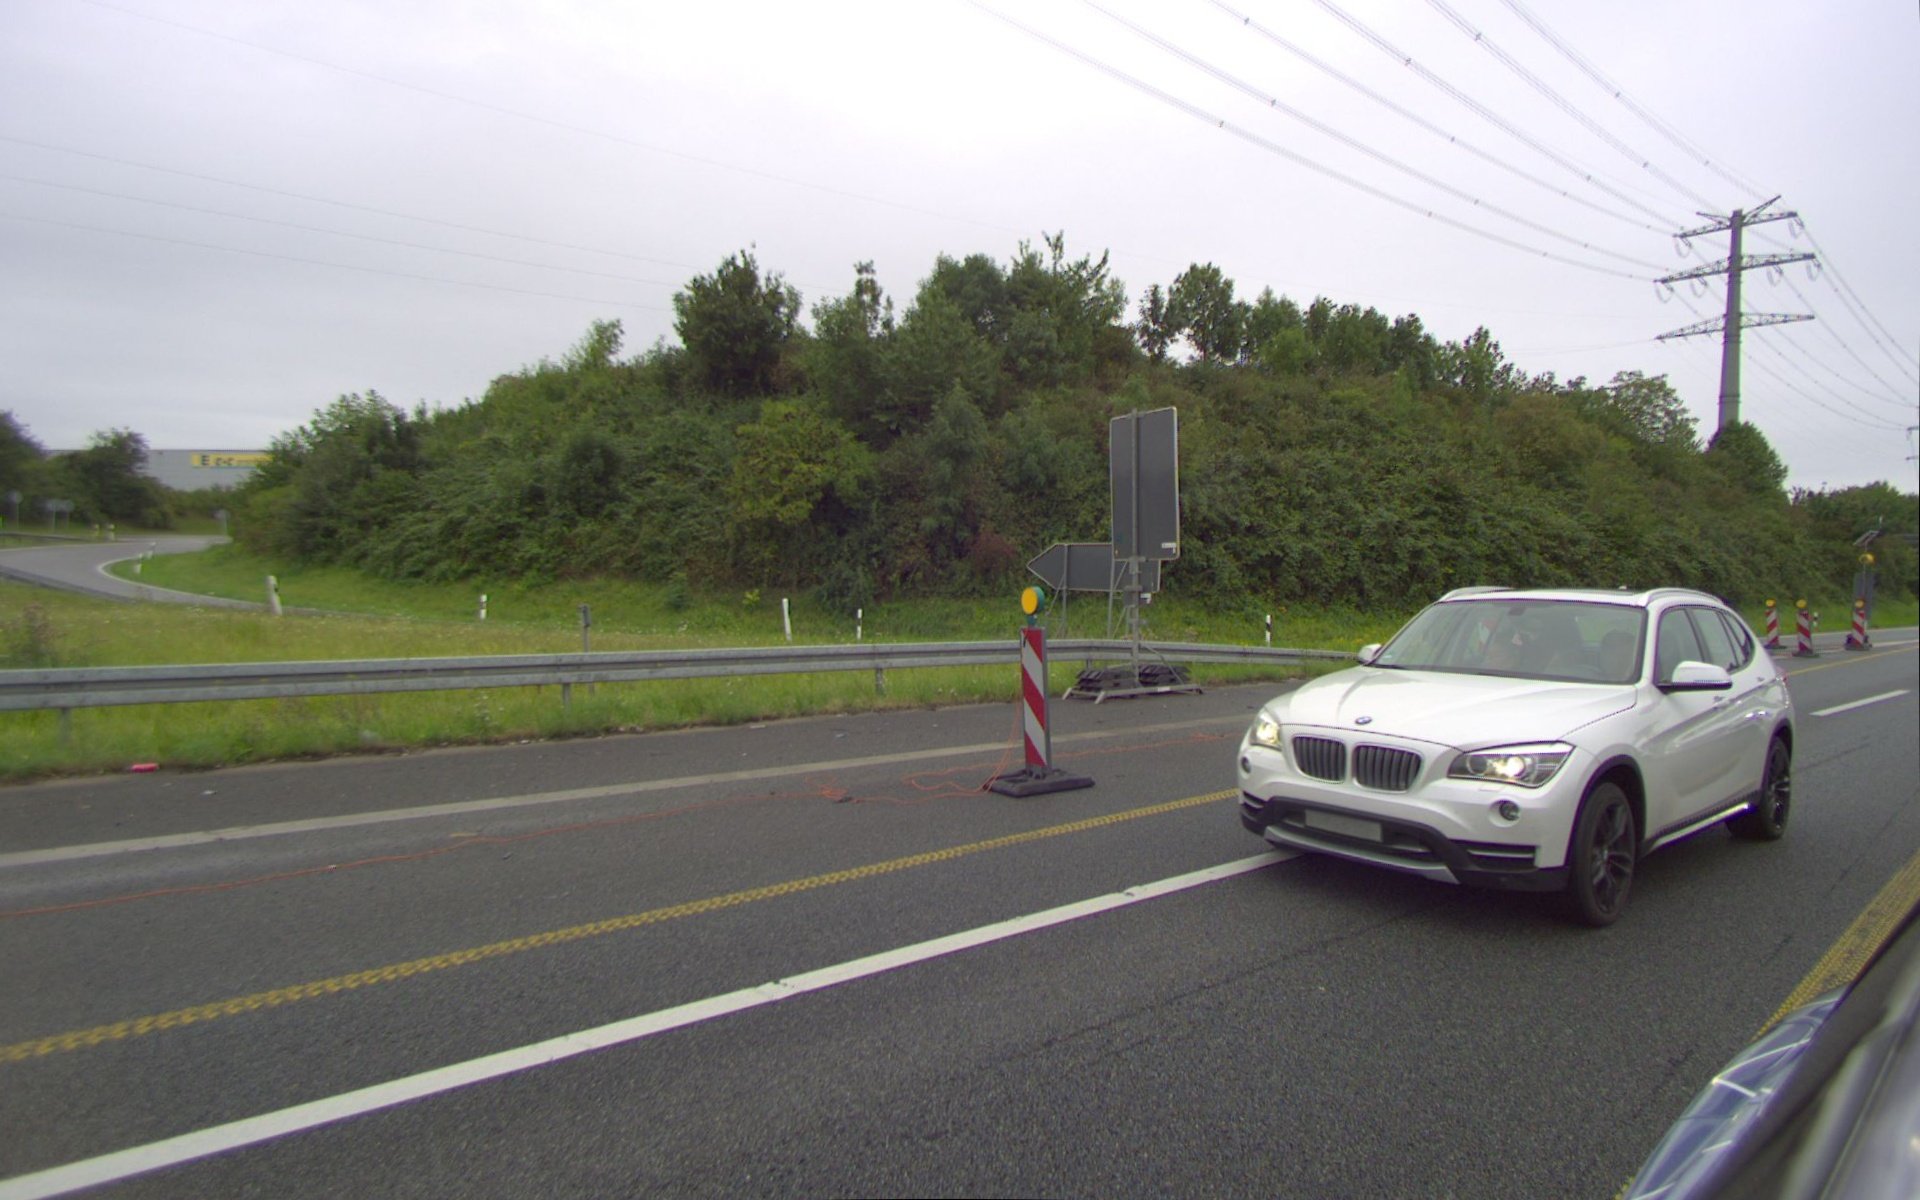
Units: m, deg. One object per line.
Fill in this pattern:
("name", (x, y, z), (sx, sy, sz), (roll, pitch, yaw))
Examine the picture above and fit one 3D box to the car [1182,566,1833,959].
("car", (3.408, 0.618, 6.002), (4.119, 1.554, 1.875), (0, 1, -37))
